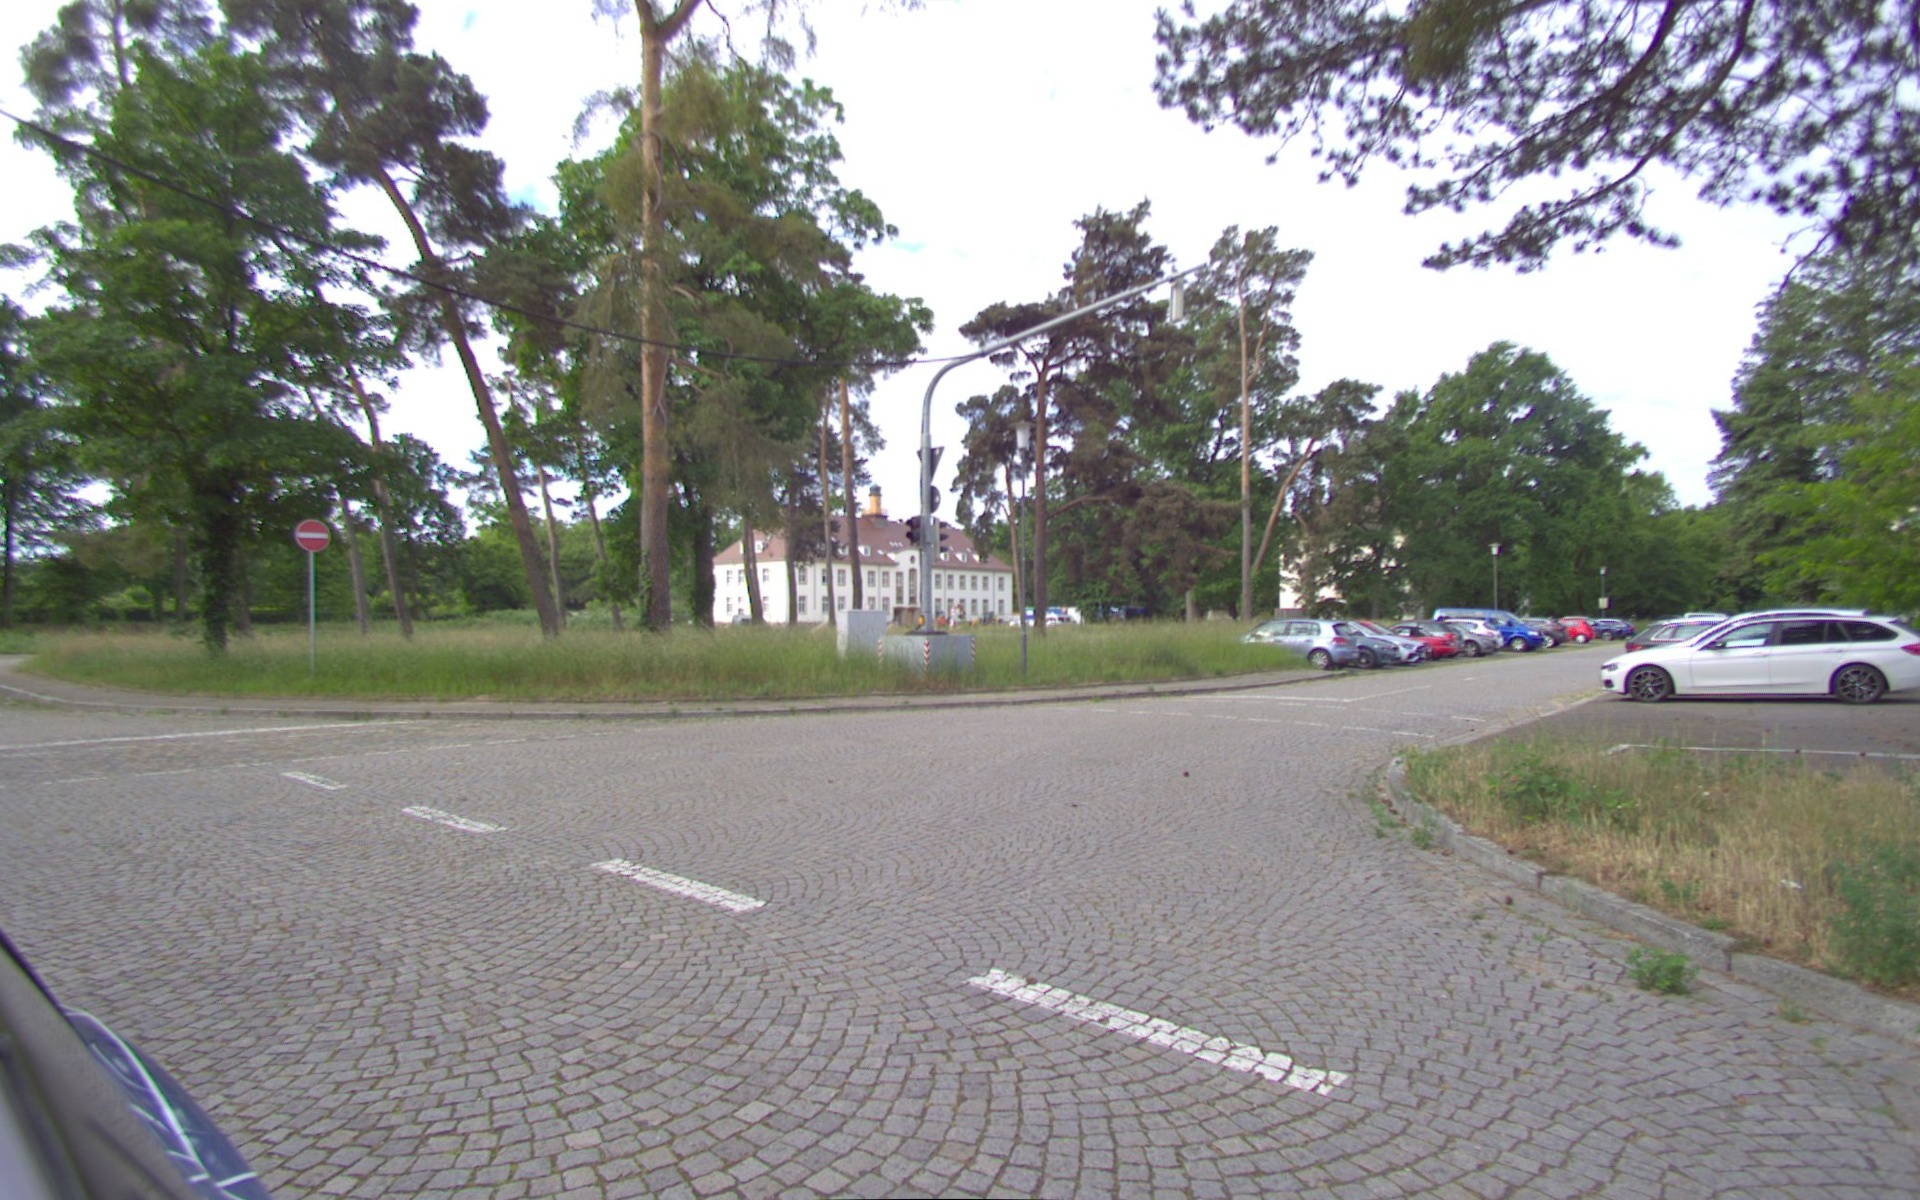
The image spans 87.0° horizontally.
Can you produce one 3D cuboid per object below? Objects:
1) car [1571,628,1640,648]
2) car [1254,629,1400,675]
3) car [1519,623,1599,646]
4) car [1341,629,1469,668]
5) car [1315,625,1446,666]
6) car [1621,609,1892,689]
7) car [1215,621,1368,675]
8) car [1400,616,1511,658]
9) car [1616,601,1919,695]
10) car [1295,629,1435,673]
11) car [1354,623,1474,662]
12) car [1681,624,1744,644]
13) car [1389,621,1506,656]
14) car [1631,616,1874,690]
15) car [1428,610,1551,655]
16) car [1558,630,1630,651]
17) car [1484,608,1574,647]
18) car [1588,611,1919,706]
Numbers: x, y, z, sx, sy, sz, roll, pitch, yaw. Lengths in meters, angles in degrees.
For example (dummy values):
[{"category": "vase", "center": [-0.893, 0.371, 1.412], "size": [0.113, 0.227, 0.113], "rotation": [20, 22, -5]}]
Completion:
[{"category": "car", "center": [46.745, 2.740, 73.293], "size": [3.998, 1.364, 1.667], "rotation": [-2, -2, 42]}, {"category": "car", "center": [11.480, 1.587, 31.805], "size": [3.998, 1.364, 1.667], "rotation": [-2, -2, 42]}, {"category": "car", "center": [36.959, 2.121, 62.511], "size": [3.998, 1.364, 1.667], "rotation": [-2, -2, 42]}, {"category": "car", "center": [16.387, 1.764, 37.346], "size": [3.998, 1.364, 1.667], "rotation": [-2, -2, 42]}, {"category": "car", "center": [14.887, 1.579, 35.937], "size": [3.998, 1.364, 1.667], "rotation": [-2, -2, 42]}, {"category": "car", "center": [16.871, 1.075, 21.702], "size": [4.319, 1.513, 1.837], "rotation": [-5, -4, 37]}, {"category": "car", "center": [9.760, 1.389, 29.960], "size": [3.996, 1.483, 1.668], "rotation": [-1, -2, 40]}, {"category": "car", "center": [21.469, 1.615, 43.973], "size": [3.999, 1.727, 1.667], "rotation": [-3, -3, 43]}, {"category": "car", "center": [15.303, 0.956, 19.453], "size": [4.319, 1.596, 1.804], "rotation": [-5, -4, 37]}, {"category": "car", "center": [13.450, 1.670, 33.720], "size": [3.998, 1.364, 1.667], "rotation": [-2, -2, 42]}, {"category": "car", "center": [17.758, 1.649, 39.678], "size": [3.998, 1.449, 1.667], "rotation": [-2, -2, 42]}, {"category": "car", "center": [79.479, 3.562, 106.918], "size": [5.159, 2.029, 1.973], "rotation": [-1, -2, 40]}, {"category": "car", "center": [19.904, 1.542, 41.387], "size": [3.998, 1.364, 1.667], "rotation": [-2, -2, 42]}, {"category": "car", "center": [18.428, 1.195, 23.777], "size": [4.319, 1.578, 1.776], "rotation": [-2, -2, 37]}, {"category": "car", "center": [24.958, 1.561, 47.819], "size": [4.791, 1.996, 1.971], "rotation": [-3, -3, 41]}, {"category": "car", "center": [43.823, 2.769, 70.015], "size": [3.998, 1.364, 1.667], "rotation": [-2, -2, 42]}, {"category": "car", "center": [30.664, 1.455, 54.578], "size": [3.994, 2.029, 1.847], "rotation": [-1, -2, 38]}, {"category": "car", "center": [13.733, 1.013, 17.442], "size": [4.733, 1.453, 1.792], "rotation": [-4, -3, 38]}]
